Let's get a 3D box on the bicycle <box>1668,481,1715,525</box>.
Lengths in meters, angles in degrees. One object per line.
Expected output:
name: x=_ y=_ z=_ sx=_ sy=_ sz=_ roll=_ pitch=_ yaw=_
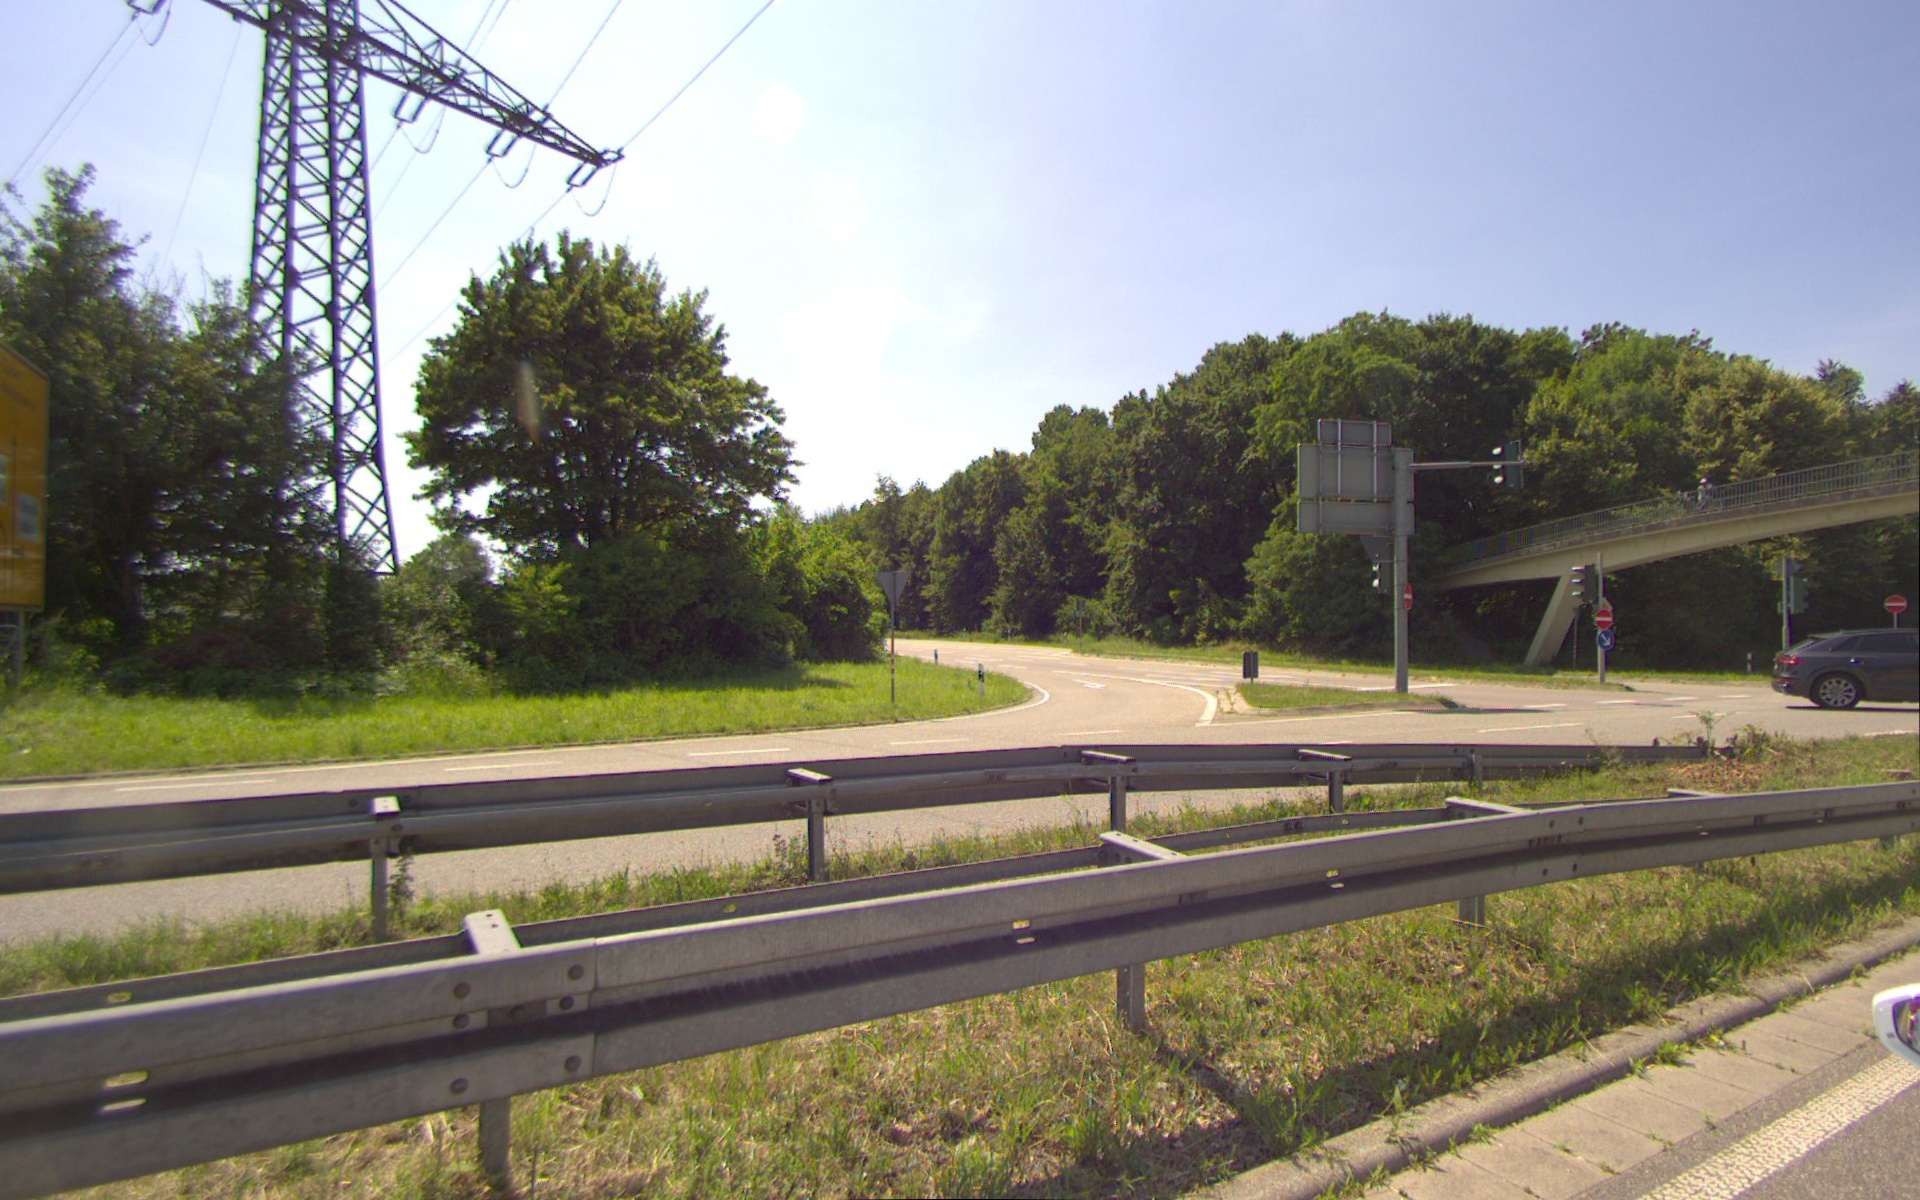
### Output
bicycle: x=28.748 y=-3.790 z=39.503 sx=0.462 sy=1.493 sz=1.528 roll=2 pitch=-3 yaw=-14

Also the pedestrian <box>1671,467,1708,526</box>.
pedestrian: x=28.938 y=-4.094 z=39.855 sx=0.916 sy=2.167 sz=0.783 roll=2 pitch=-3 yaw=-14

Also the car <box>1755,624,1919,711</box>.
car: x=19.607 y=1.371 z=20.633 sx=5.005 sy=1.721 sz=2.041 roll=-3 pitch=-4 yaw=37
